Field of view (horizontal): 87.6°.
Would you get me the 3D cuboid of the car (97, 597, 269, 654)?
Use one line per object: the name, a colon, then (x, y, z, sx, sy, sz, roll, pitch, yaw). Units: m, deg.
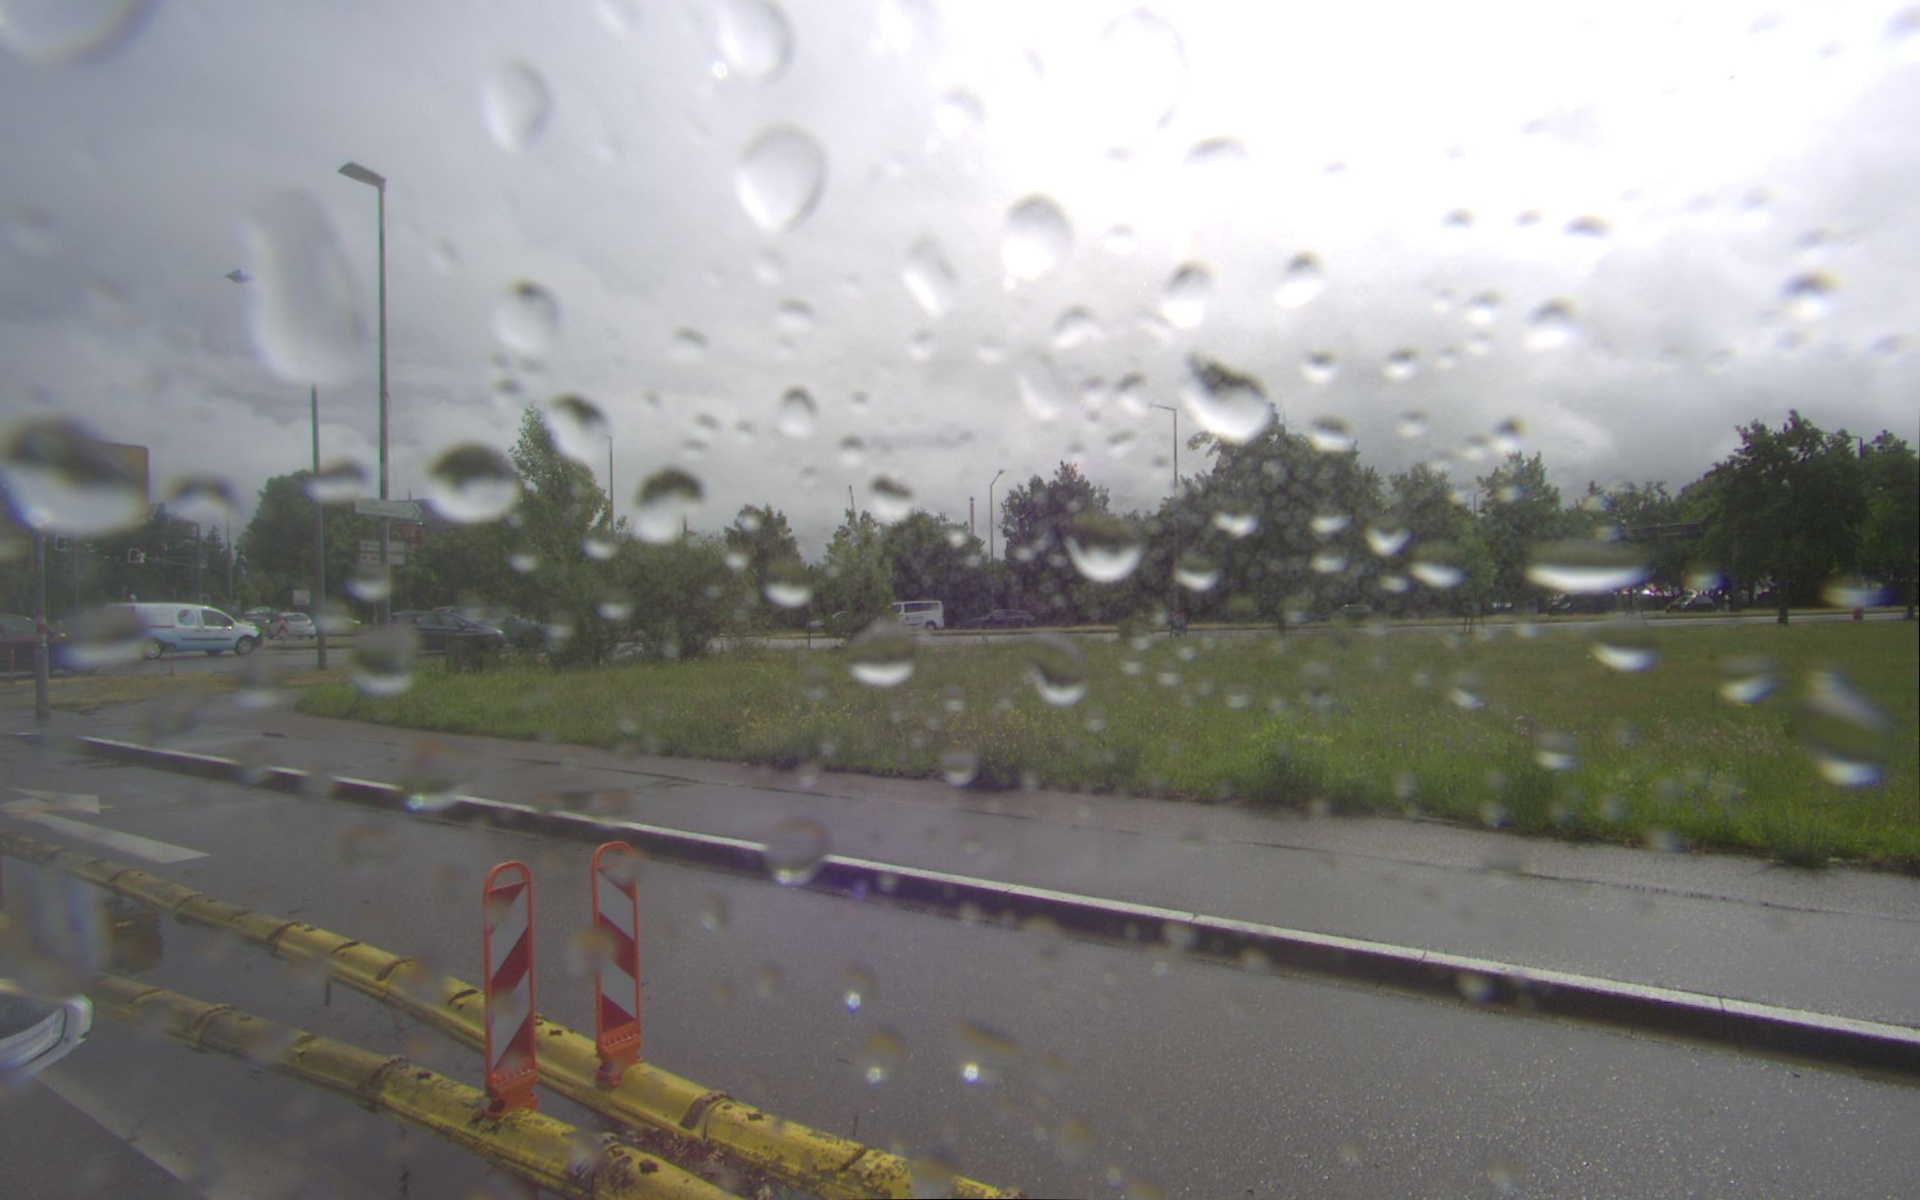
car: (-26.618, 0.834, 34.489, 1.837, 1.833, 4.396, 0, 0, 18)

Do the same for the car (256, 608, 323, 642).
car: (-38.170, 1.393, 57.021, 3.949, 1.854, 1.986, -1, 0, 37)

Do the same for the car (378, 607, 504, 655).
car: (-19.086, 1.106, 36.906, 3.906, 1.666, 1.658, 0, 0, -37)

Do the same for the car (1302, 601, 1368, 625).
car: (26.062, 0.915, 69.634, 4.158, 1.579, 1.541, -1, 0, -14)

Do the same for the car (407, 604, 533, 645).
car: (-19.934, 0.970, 40.802, 4.348, 1.568, 1.857, 0, 0, -36)

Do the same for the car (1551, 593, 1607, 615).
car: (46.337, 0.293, 74.960, 3.459, 1.579, 1.541, -1, 0, -14)

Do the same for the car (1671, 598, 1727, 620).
car: (55.273, 0.672, 74.903, 3.459, 1.579, 1.541, -1, 0, -14)

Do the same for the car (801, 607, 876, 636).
car: (-7.048, 1.228, 57.974, 4.041, 1.581, 1.911, -1, 0, -16)

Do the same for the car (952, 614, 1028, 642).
car: (1.772, 1.637, 60.204, 4.226, 1.581, 1.912, -1, 0, -14)

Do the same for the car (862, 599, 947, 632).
car: (-3.444, 0.962, 61.941, 4.873, 1.944, 1.996, -1, 0, -16)

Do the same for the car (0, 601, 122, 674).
car: (-23.781, 0.920, 24.704, 1.968, 1.748, 4.340, 0, 0, 26)
